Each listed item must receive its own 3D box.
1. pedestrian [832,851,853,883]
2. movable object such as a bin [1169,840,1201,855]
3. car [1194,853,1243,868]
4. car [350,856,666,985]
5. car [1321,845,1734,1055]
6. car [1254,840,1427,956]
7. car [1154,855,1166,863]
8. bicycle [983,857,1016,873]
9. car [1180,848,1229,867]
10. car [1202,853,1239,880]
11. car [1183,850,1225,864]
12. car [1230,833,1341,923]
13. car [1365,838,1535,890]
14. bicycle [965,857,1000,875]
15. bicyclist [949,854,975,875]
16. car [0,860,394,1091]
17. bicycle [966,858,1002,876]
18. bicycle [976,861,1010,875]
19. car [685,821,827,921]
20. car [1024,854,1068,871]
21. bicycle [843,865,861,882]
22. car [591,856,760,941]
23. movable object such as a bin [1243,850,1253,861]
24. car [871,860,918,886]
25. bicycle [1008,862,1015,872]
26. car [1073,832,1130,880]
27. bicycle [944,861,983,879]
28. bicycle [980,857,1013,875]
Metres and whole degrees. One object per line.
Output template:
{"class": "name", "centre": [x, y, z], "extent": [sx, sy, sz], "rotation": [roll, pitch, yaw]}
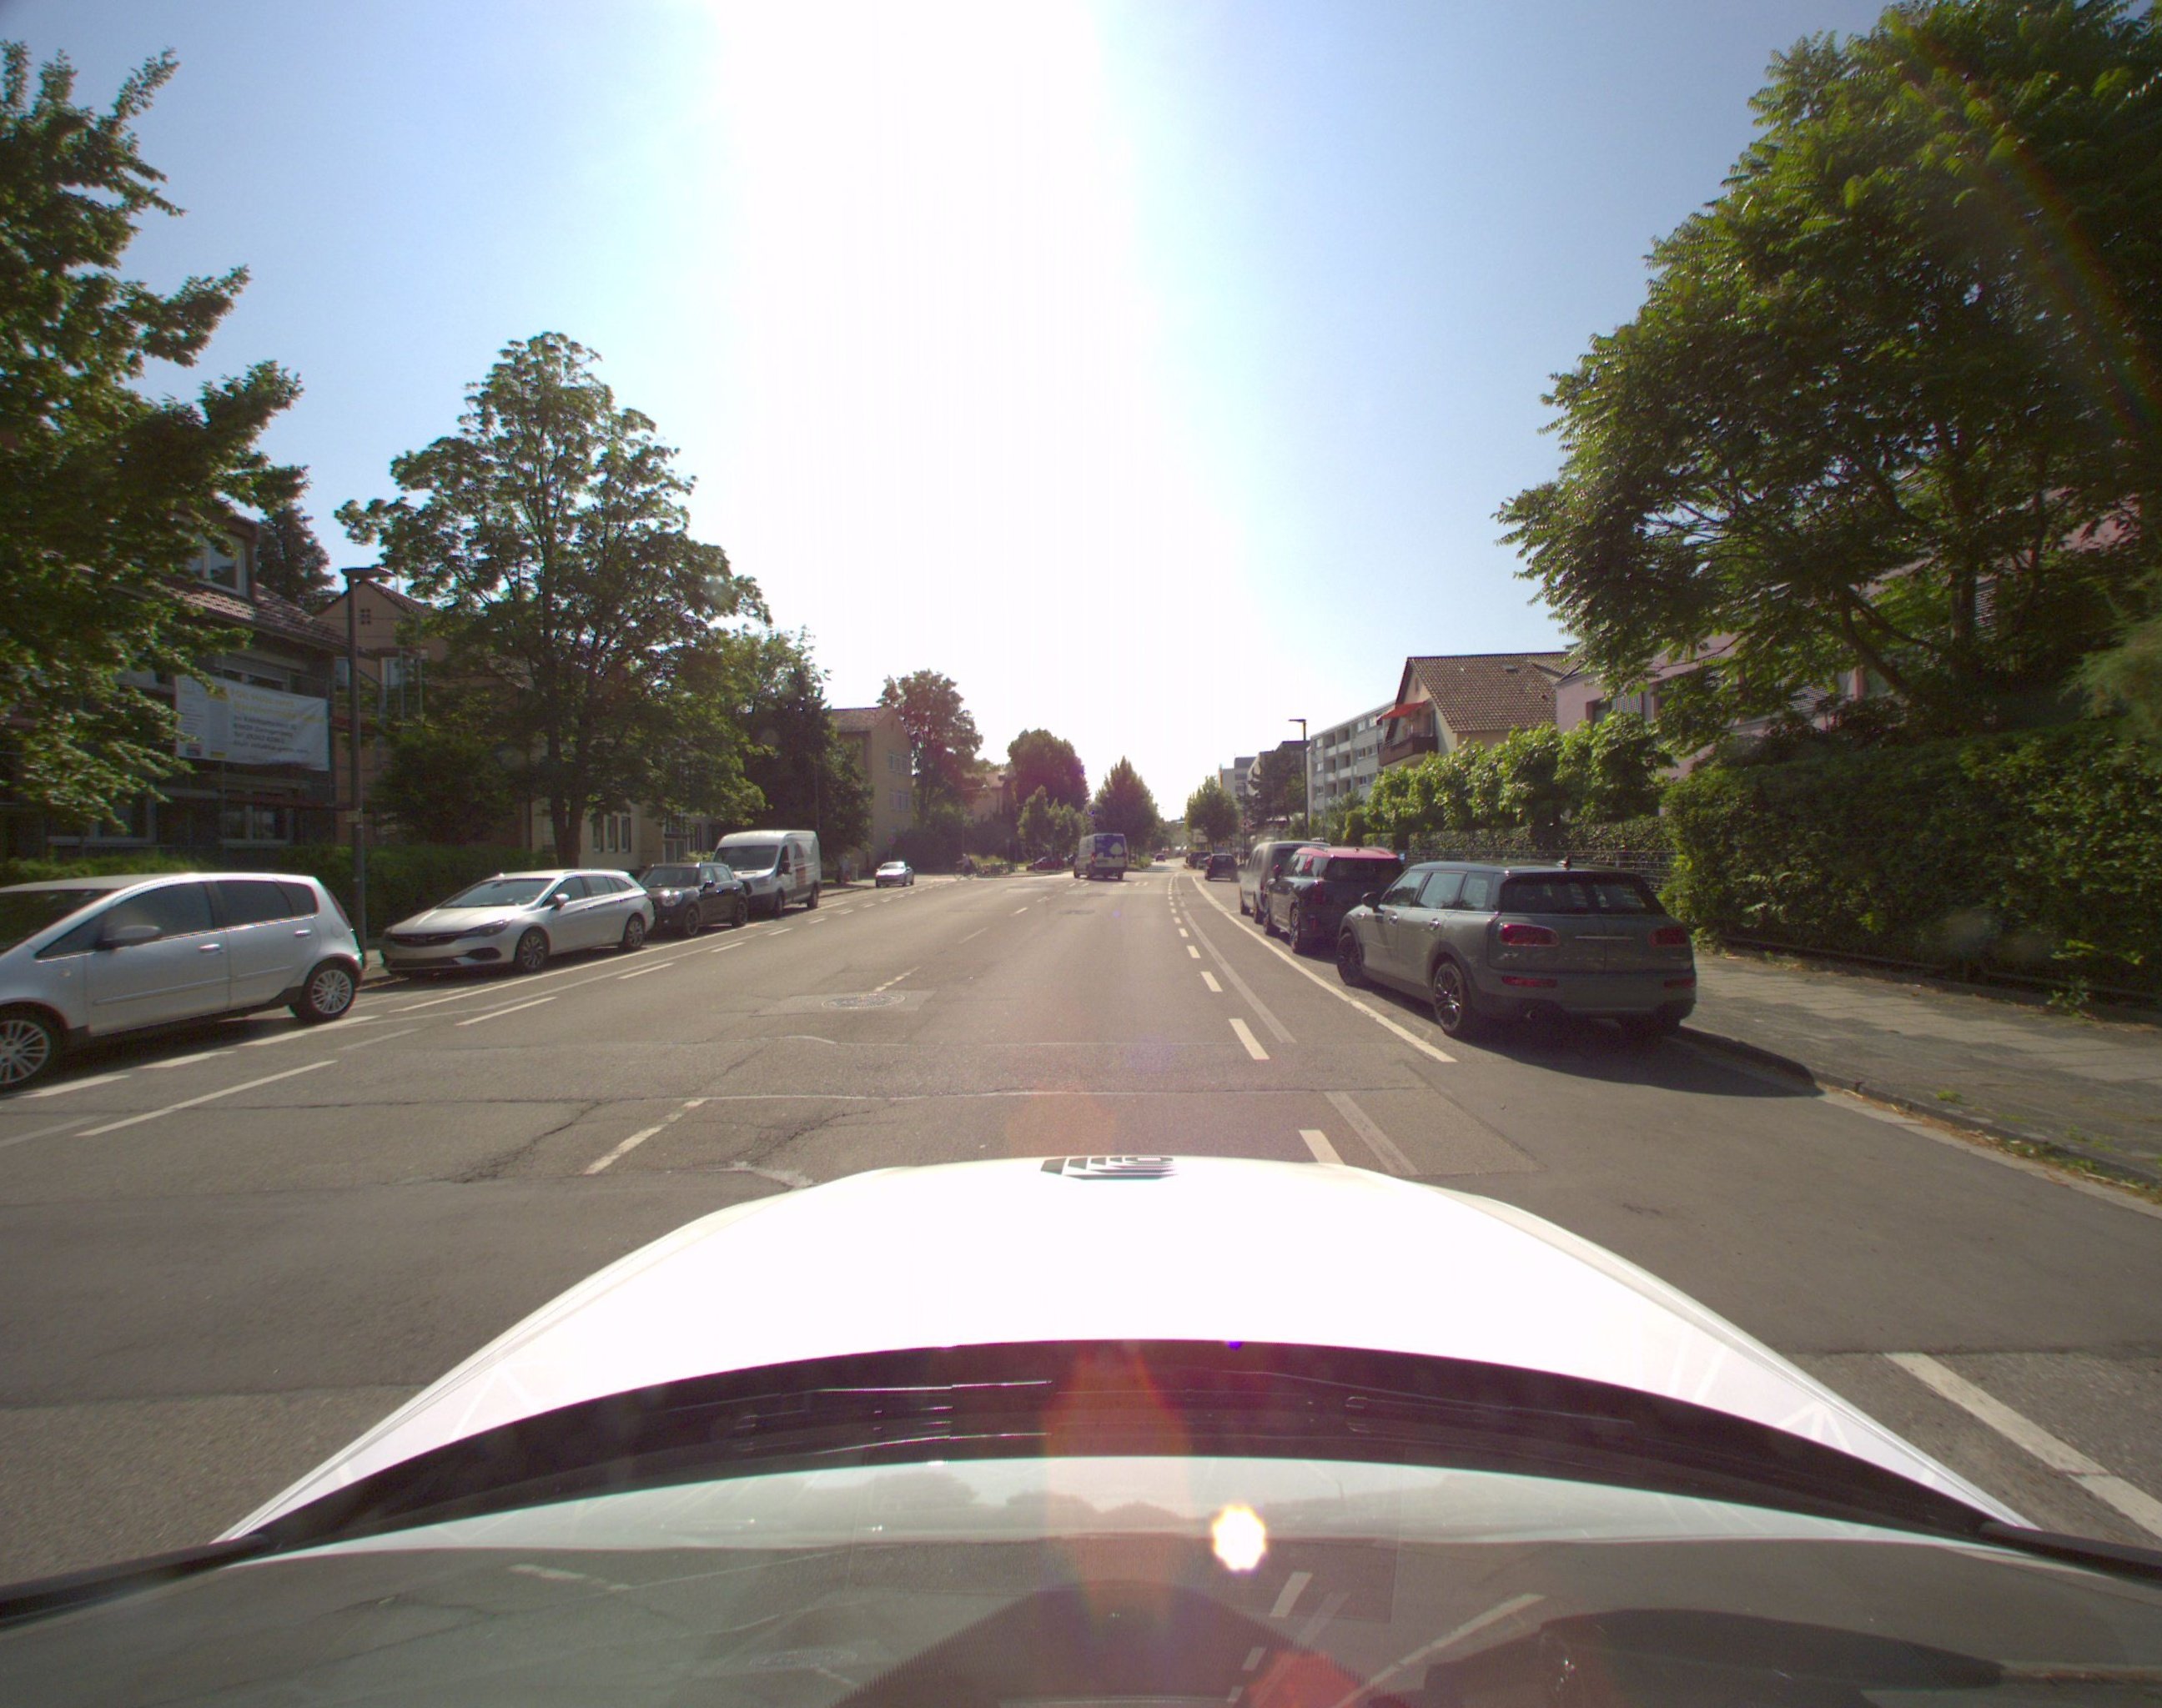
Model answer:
{"class": "pedestrian", "centre": [-13.523, 0.752, 46.194], "extent": [0.969, 1.780, 0.726], "rotation": [-1, 0, 3]}
{"class": "movable object such as a bin", "centre": [31.863, -1.930, 249.550], "extent": [9.620, 4.550, 3.171], "rotation": [-1, 0, 8]}
{"class": "car", "centre": [12.464, 0.608, 73.955], "extent": [3.999, 1.236, 1.741], "rotation": [-1, 0, -19]}
{"class": "car", "centre": [-8.678, 0.875, 12.986], "extent": [1.715, 1.559, 4.670], "rotation": [-2, 0, -1]}
{"class": "car", "centre": [3.834, 0.677, 7.923], "extent": [1.756, 1.443, 4.068], "rotation": [-2, 0, 0]}
{"class": "car", "centre": [4.093, 0.605, 13.589], "extent": [1.754, 1.593, 4.318], "rotation": [-1, 0, 4]}
{"class": "car", "centre": [14.419, 0.958, 148.397], "extent": [1.985, 1.398, 4.004], "rotation": [-1, 0, 3]}
{"class": "bicycle", "centre": [-6.574, 0.910, 65.687], "extent": [2.533, 1.256, 0.740], "rotation": [-1, 0, 4]}
{"class": "car", "centre": [11.655, 0.318, 76.866], "extent": [4.129, 1.640, 2.026], "rotation": [-1, 0, -27]}
{"class": "car", "centre": [7.563, 0.659, 44.410], "extent": [1.609, 1.390, 4.005], "rotation": [0, 0, 5]}
{"class": "car", "centre": [14.486, 0.353, 96.036], "extent": [4.757, 1.660, 1.737], "rotation": [-1, 0, -27]}
{"class": "car", "centre": [4.661, 0.519, 19.202], "extent": [1.754, 1.827, 4.603], "rotation": [1, -1, 4]}
{"class": "car", "centre": [12.862, 0.341, 28.657], "extent": [5.065, 1.706, 1.980], "rotation": [-1, 0, 3]}
{"class": "bicycle", "centre": [-7.518, 0.933, 62.068], "extent": [2.533, 1.239, 0.740], "rotation": [-2, 0, 4]}
{"class": "bicyclist", "centre": [-8.044, 0.708, 55.090], "extent": [1.338, 1.403, 0.966], "rotation": [-2, 0, 31]}
{"class": "car", "centre": [-8.430, 0.893, 6.945], "extent": [1.715, 1.559, 3.998], "rotation": [-2, 0, -1]}
{"class": "bicycle", "centre": [-7.275, 0.991, 60.956], "extent": [2.533, 1.256, 0.740], "rotation": [-2, 0, 4]}
{"class": "bicycle", "centre": [-6.822, 1.091, 63.133], "extent": [2.533, 0.987, 0.740], "rotation": [-2, 0, 4]}
{"class": "car", "centre": [-9.290, 0.409, 23.948], "extent": [2.085, 2.496, 5.943], "rotation": [-2, 0, -4]}
{"class": "car", "centre": [-3.505, 0.810, 81.312], "extent": [3.993, 1.466, 1.990], "rotation": [-2, 0, -15]}
{"class": "bicycle", "centre": [-15.082, 1.249, 53.551], "extent": [0.380, 1.081, 1.695], "rotation": [-1, 0, -43]}
{"class": "car", "centre": [-8.774, 0.876, 18.038], "extent": [1.715, 1.559, 3.998], "rotation": [-2, 0, -1]}
{"class": "movable object such as a bin", "centre": [26.086, 0.212, 127.090], "extent": [1.301, 1.592, 1.397], "rotation": [-4, -1, 4]}
{"class": "car", "centre": [-10.417, 1.010, 45.713], "extent": [1.715, 1.266, 3.998], "rotation": [-2, 0, -1]}
{"class": "bicycle", "centre": [-6.288, 1.163, 73.752], "extent": [0.518, 0.903, 1.271], "rotation": [-2, -1, 2]}
{"class": "car", "centre": [1.087, 0.114, 47.522], "extent": [2.274, 2.524, 6.118], "rotation": [-2, 0, -8]}
{"class": "bicycle", "centre": [-7.947, 1.088, 55.078], "extent": [2.520, 1.113, 0.966], "rotation": [-2, 0, 30]}
{"class": "bicycle", "centre": [-6.668, 0.931, 64.243], "extent": [2.504, 1.256, 0.740], "rotation": [-2, 0, 4]}
